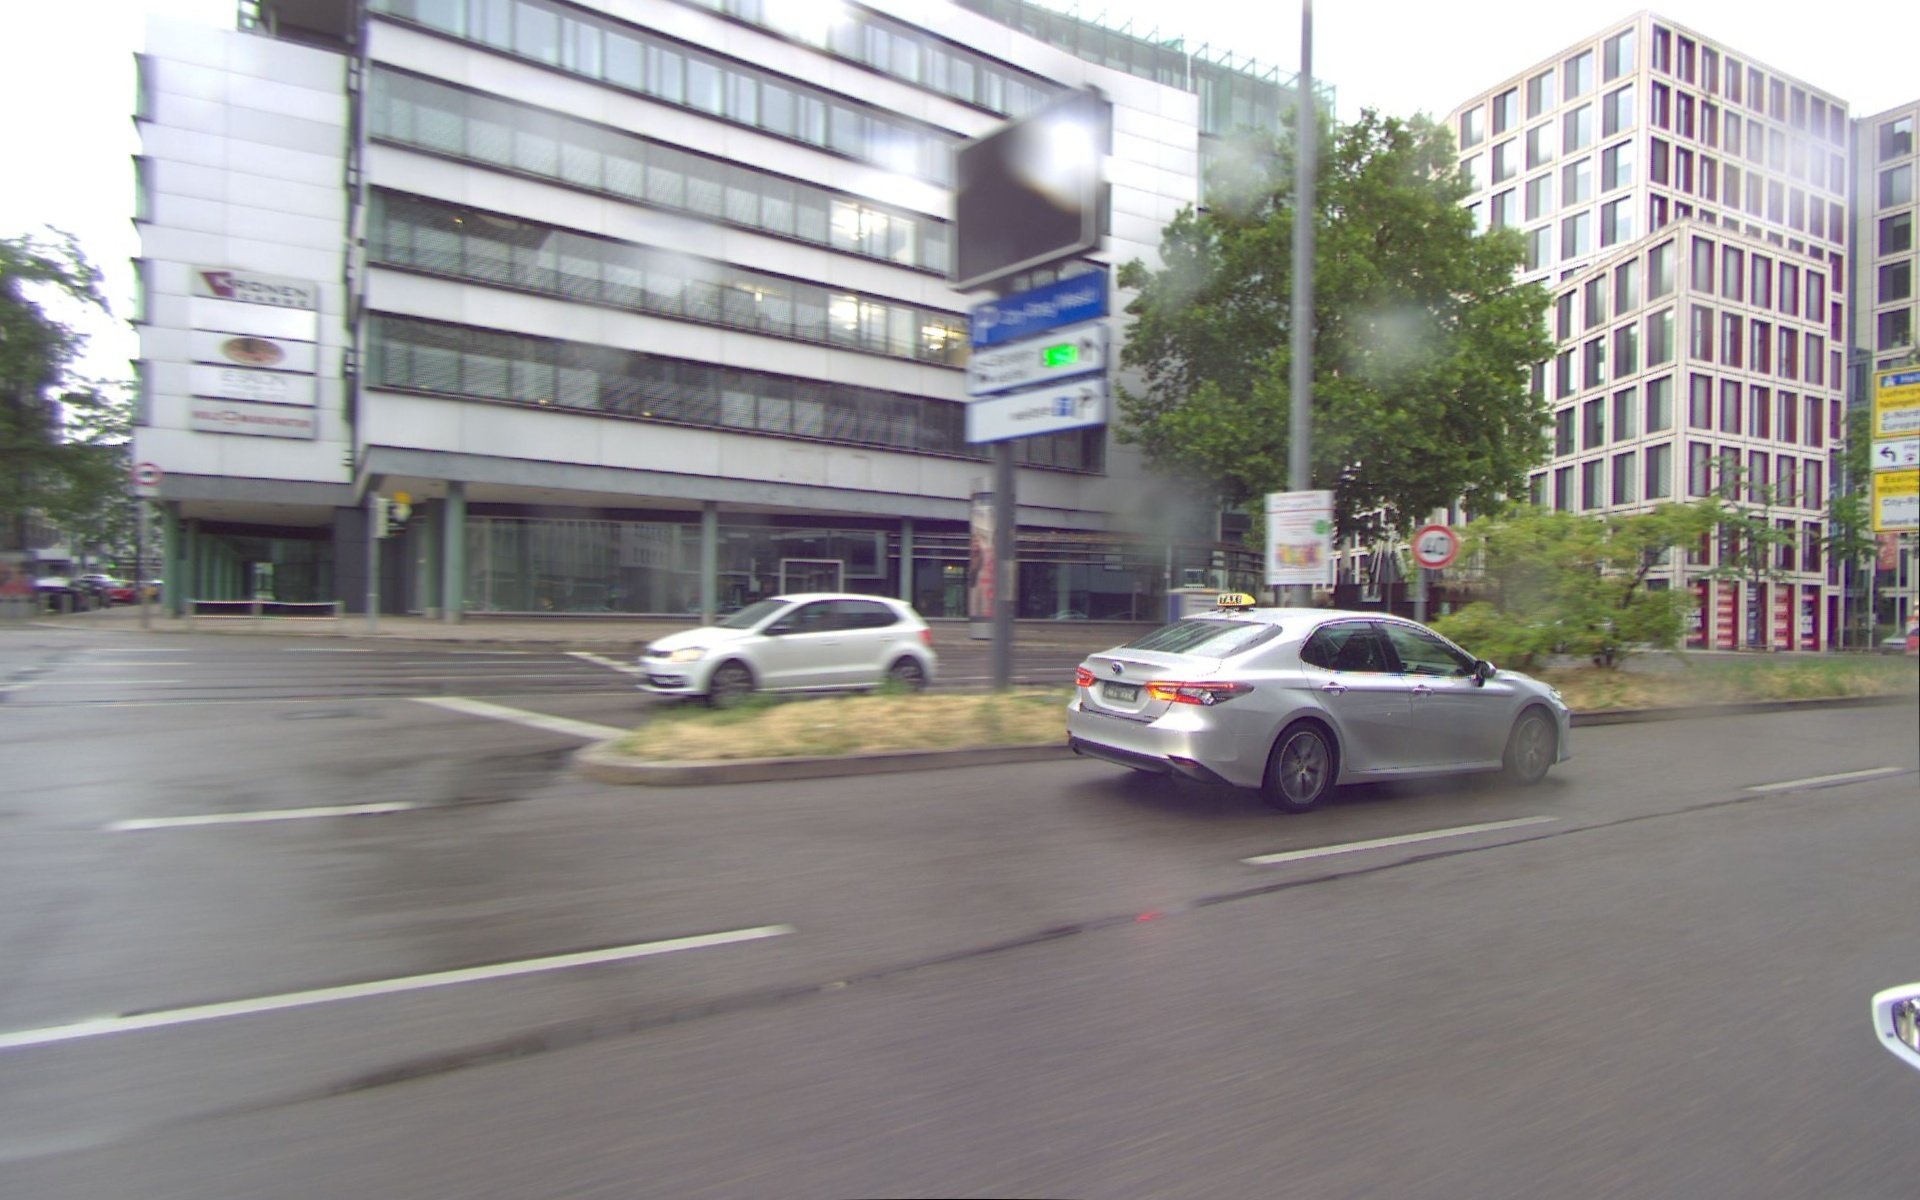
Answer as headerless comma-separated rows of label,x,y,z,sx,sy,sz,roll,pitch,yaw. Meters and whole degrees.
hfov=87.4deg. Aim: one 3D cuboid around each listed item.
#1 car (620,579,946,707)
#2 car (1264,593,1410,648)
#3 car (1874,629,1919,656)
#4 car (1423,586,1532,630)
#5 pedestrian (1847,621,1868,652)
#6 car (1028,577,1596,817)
car,-2.333,0.565,13.497,3.928,1.483,1.742,3,0,-32
car,12.087,0.653,32.170,4.426,1.639,1.985,1,1,-29
car,53.135,2.378,56.110,4.318,1.442,1.691,2,-2,-27
car,20.838,0.311,40.416,4.233,1.549,1.790,3,0,-28
pedestrian,52.680,2.145,58.938,0.956,1.757,0.609,2,0,-30
car,3.067,0.708,8.447,4.744,1.541,1.822,3,0,-30
